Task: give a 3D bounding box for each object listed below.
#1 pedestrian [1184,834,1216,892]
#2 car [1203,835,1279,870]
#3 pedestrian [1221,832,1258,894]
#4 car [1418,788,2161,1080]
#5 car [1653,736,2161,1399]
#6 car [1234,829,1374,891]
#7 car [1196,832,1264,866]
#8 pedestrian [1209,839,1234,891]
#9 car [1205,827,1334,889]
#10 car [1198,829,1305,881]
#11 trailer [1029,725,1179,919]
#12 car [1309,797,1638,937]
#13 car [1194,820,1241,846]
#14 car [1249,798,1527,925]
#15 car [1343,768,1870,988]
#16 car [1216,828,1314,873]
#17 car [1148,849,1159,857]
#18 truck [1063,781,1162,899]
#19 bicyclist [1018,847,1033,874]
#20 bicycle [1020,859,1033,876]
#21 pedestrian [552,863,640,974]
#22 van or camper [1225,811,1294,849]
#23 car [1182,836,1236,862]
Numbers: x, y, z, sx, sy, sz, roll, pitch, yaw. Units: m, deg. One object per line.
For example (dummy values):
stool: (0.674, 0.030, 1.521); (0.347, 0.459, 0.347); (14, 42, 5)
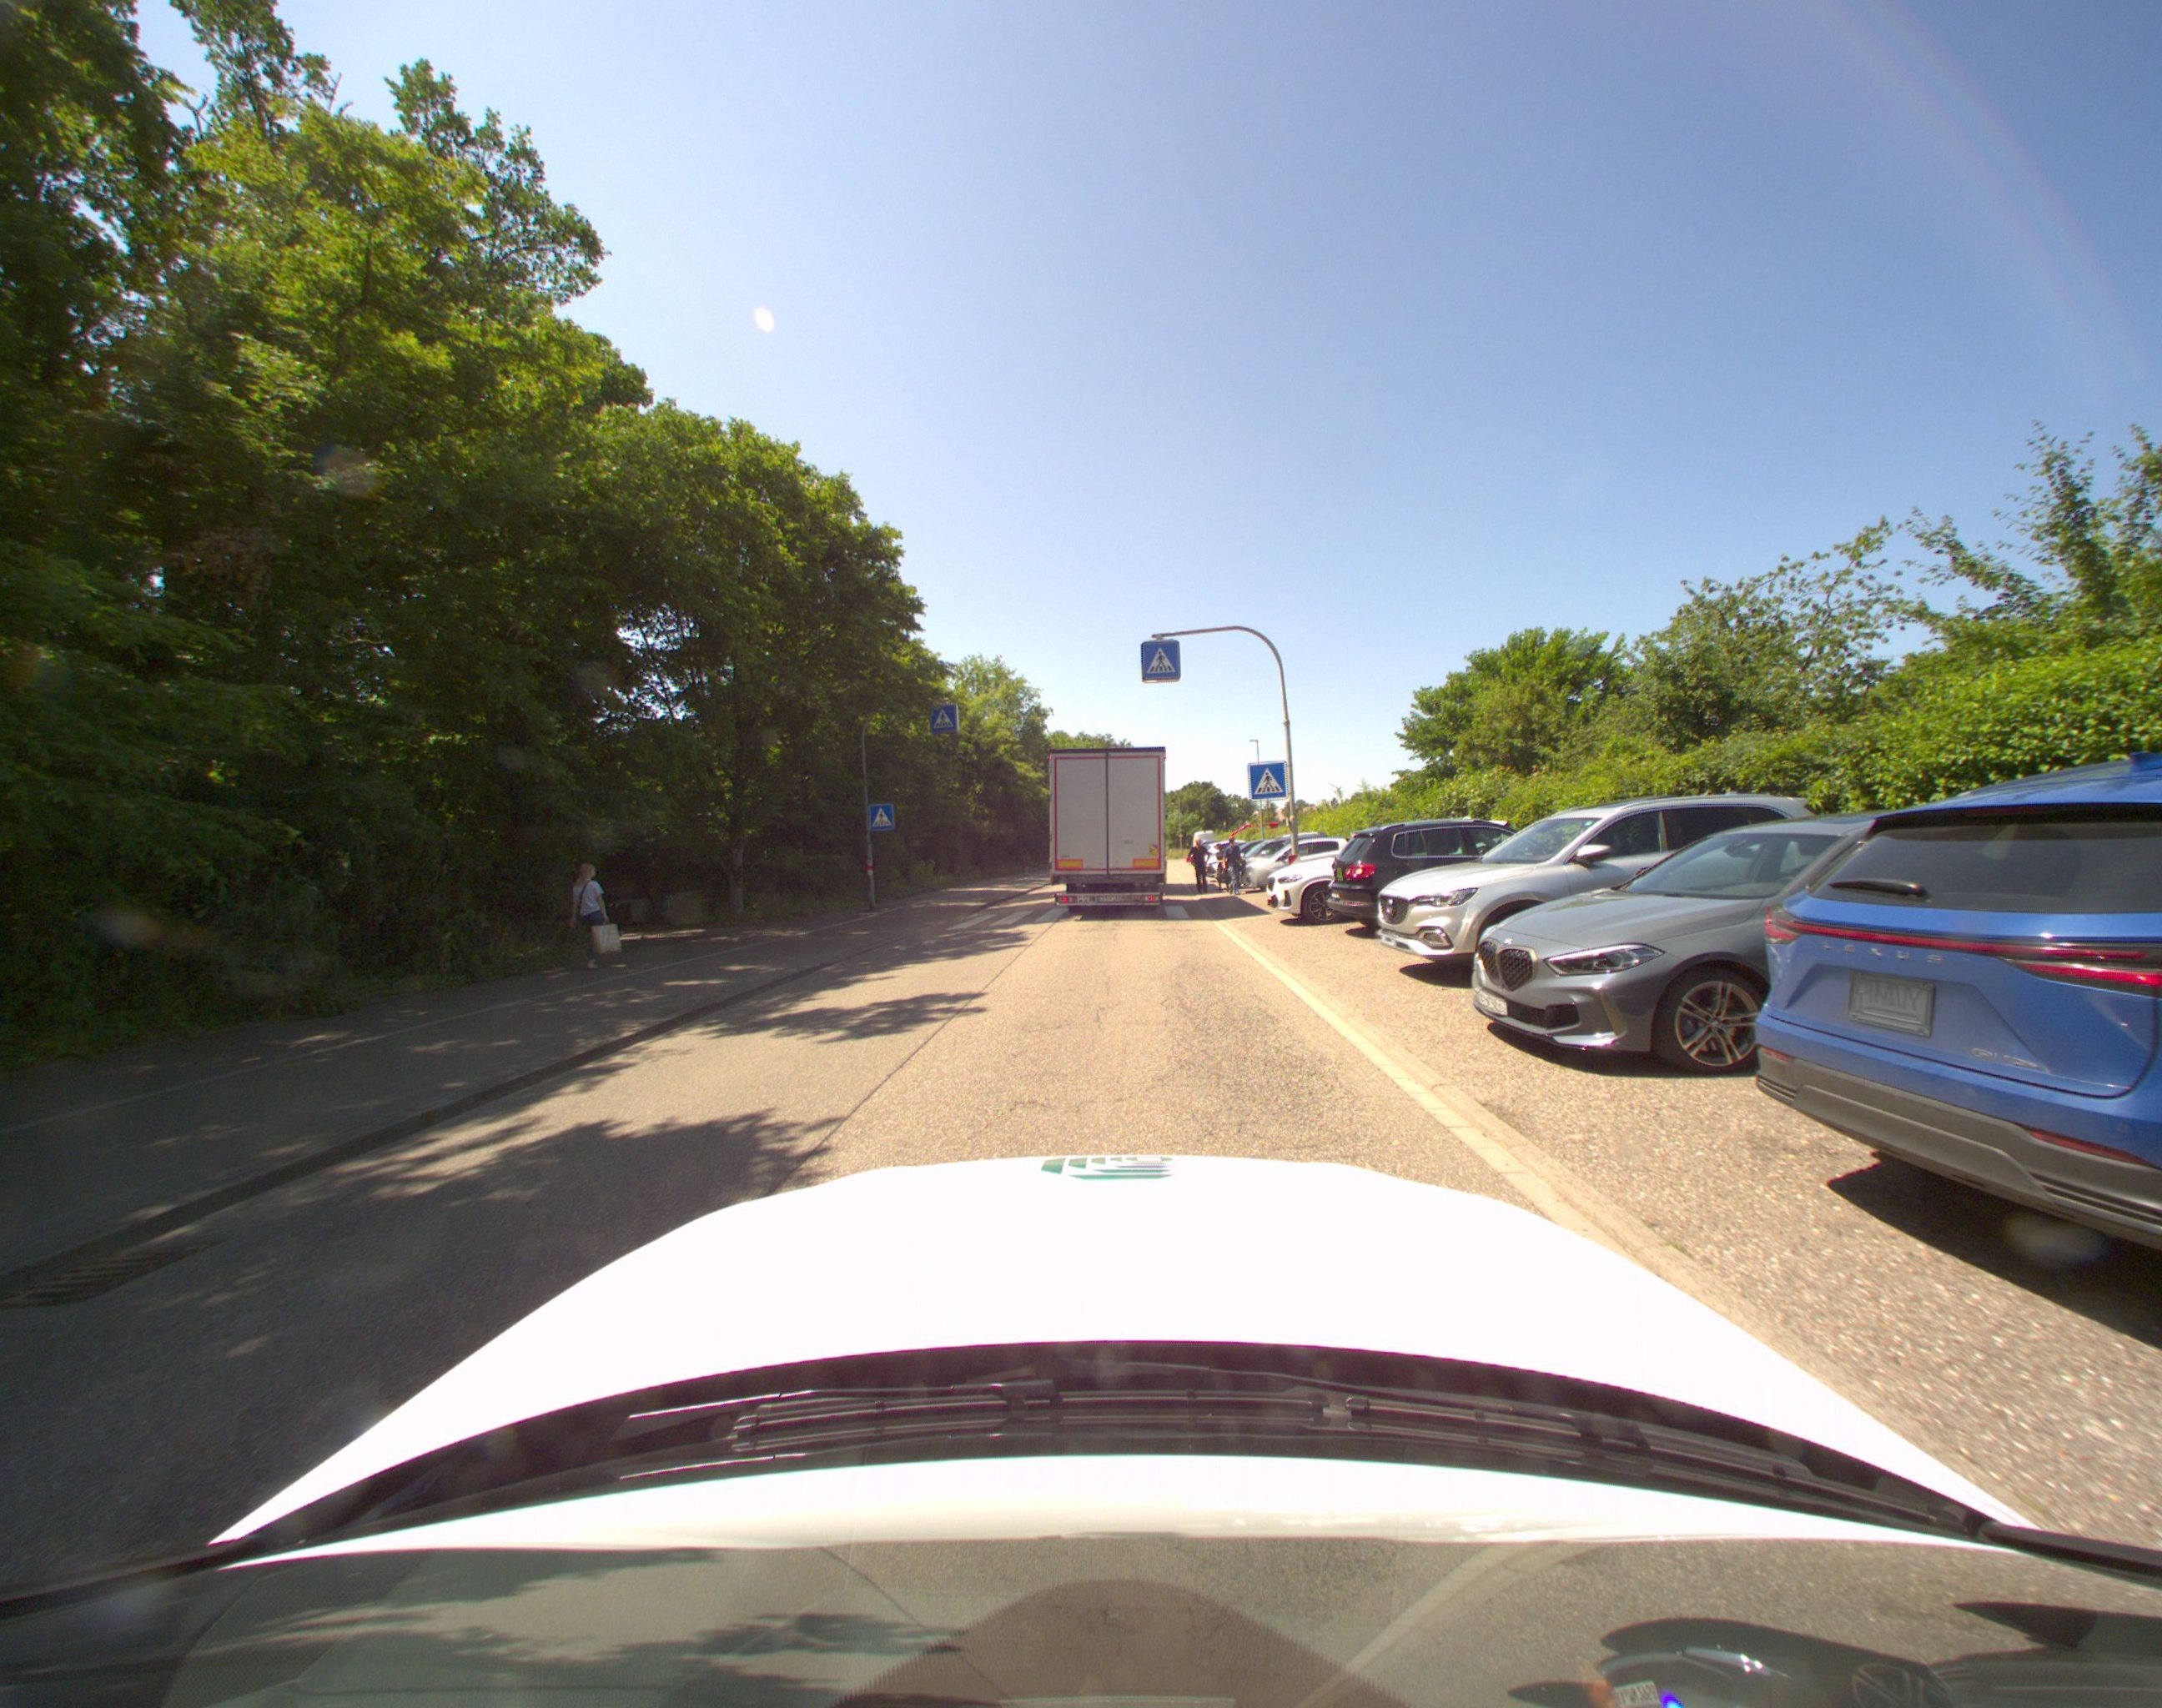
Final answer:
pedestrian: (4.005, 0.296, 27.432); (0.817, 1.834, 0.794); (-7, 0, 8)
car: (9.144, -0.117, 46.778); (3.944, 1.618, 1.813); (-5, 0, -1)
pedestrian: (4.926, 0.265, 25.375); (0.902, 1.798, 0.937); (-7, 0, 8)
car: (4.863, 0.439, 5.824); (4.125, 1.439, 1.811); (-4, 0, -6)
car: (4.720, 0.311, 2.714); (4.223, 1.633, 1.823); (-6, 0, 1)
car: (6.927, 0.178, 25.645); (3.935, 1.479, 1.817); (-7, 0, 7)
car: (9.641, -0.314, 52.829); (3.945, 1.765, 1.813); (-6, 0, -1)
pedestrian: (4.609, 0.356, 26.775); (0.586, 1.614, 0.746); (-7, 0, 8)
car: (6.545, 0.120, 28.569); (3.947, 1.668, 1.812); (-6, 0, -3)
car: (7.122, 0.014, 34.251); (3.950, 1.668, 1.811); (-6, 3, -5)
trailer: (0.830, -0.730, 23.395); (3.099, 4.102, 11.547); (-2, 0, 3)
car: (5.895, 0.188, 12.658); (4.108, 1.657, 1.888); (-5, 0, 3)
car: (12.254, -1.892, 73.415); (3.937, 1.798, 1.816); (-7, -2, 5)
car: (5.637, 0.135, 15.373); (4.390, 1.698, 1.877); (-7, 0, 0)
car: (5.236, 0.226, 8.575); (4.223, 1.653, 1.899); (-6, 0, -1)
car: (8.460, -0.163, 37.616); (3.950, 1.586, 1.810); (-6, 0, -5)
car: (14.724, -0.216, 164.879); (1.769, 1.486, 4.013); (-3, 1, 11)
truck: (1.249, -0.494, 29.781); (3.100, 3.725, 6.421); (-2, 1, 4)
bicyclist: (-3.670, 0.421, 53.829); (0.713, 1.758, 0.797); (-3, 0, 6)
bicycle: (-3.581, 0.852, 54.010); (0.451, 1.047, 2.207); (-3, 0, 5)
pedestrian: (-7.558, 0.980, 12.719); (0.825, 1.622, 0.783); (-2, 1, 0)
van or camper: (19.461, -2.597, 88.666); (6.991, 3.586, 2.785); (-3, 0, 16)
car: (10.286, -0.400, 65.778); (3.945, 1.668, 1.813); (-6, 0, -1)
